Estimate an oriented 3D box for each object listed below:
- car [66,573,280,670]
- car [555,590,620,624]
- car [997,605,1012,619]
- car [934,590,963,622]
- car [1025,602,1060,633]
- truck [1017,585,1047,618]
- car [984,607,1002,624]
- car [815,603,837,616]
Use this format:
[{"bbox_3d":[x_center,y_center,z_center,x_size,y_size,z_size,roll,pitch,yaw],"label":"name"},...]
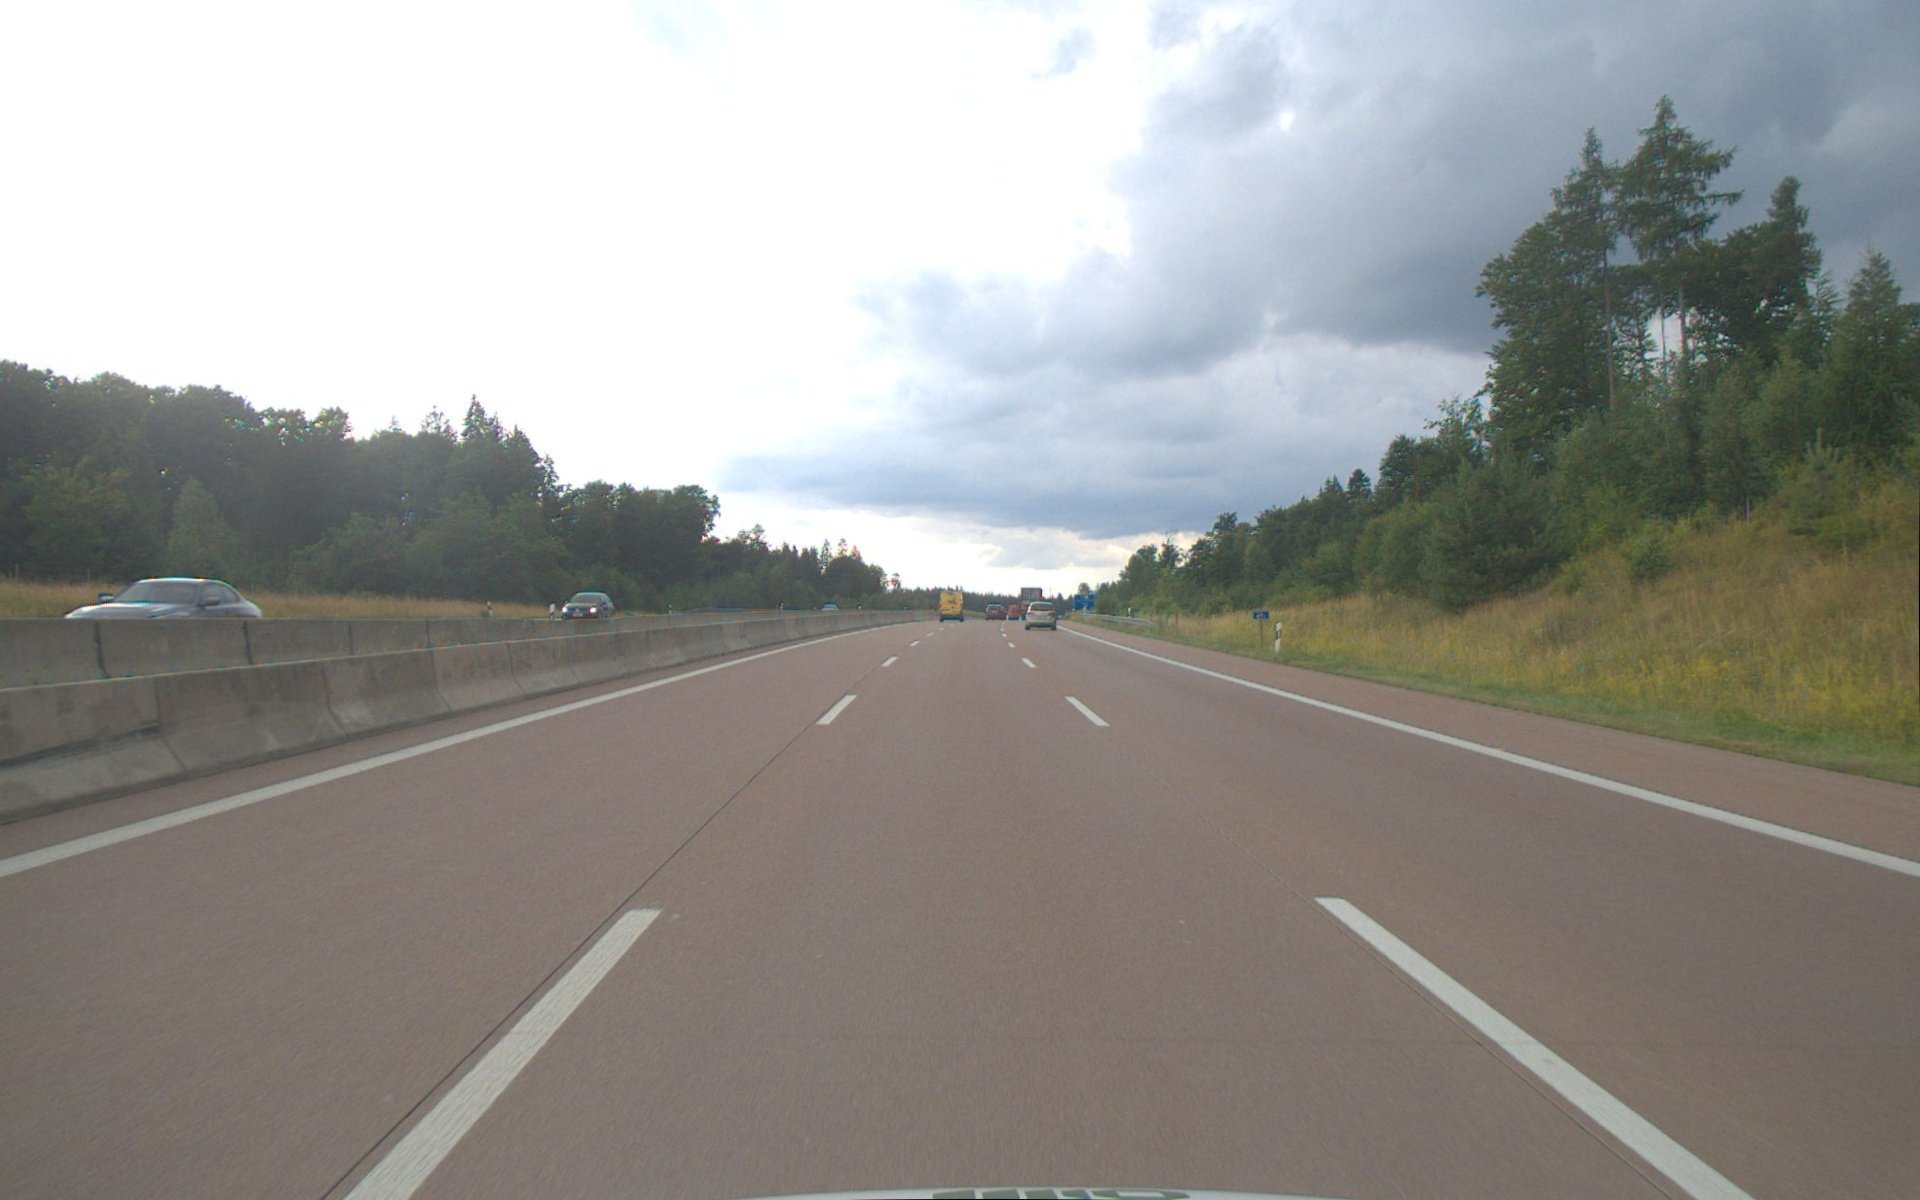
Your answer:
[{"bbox_3d":[-13.712,0.386,29.103,1.697,1.552,4.244,1,-1,0],"label":"car"},{"bbox_3d":[-17.425,0.350,77.548,1.890,1.514,4.424,1,-1,1],"label":"car"},{"bbox_3d":[5.892,1.547,219.425,1.848,1.795,4.998,0,0,1],"label":"car"},{"bbox_3d":[-0.997,0.558,148.079,2.407,2.754,5.615,0,0,2],"label":"car"},{"bbox_3d":[4.689,0.983,94.820,1.936,1.677,4.620,1,0,2],"label":"car"},{"bbox_3d":[9.296,0.234,214.843,3.604,3.981,12.816,1,-1,1],"label":"truck"},{"bbox_3d":[3.563,1.615,178.064,1.848,1.795,4.782,0,0,1],"label":"car"},{"bbox_3d":[-16.442,1.185,203.615,2.171,1.594,4.850,0,0,2],"label":"car"}]
